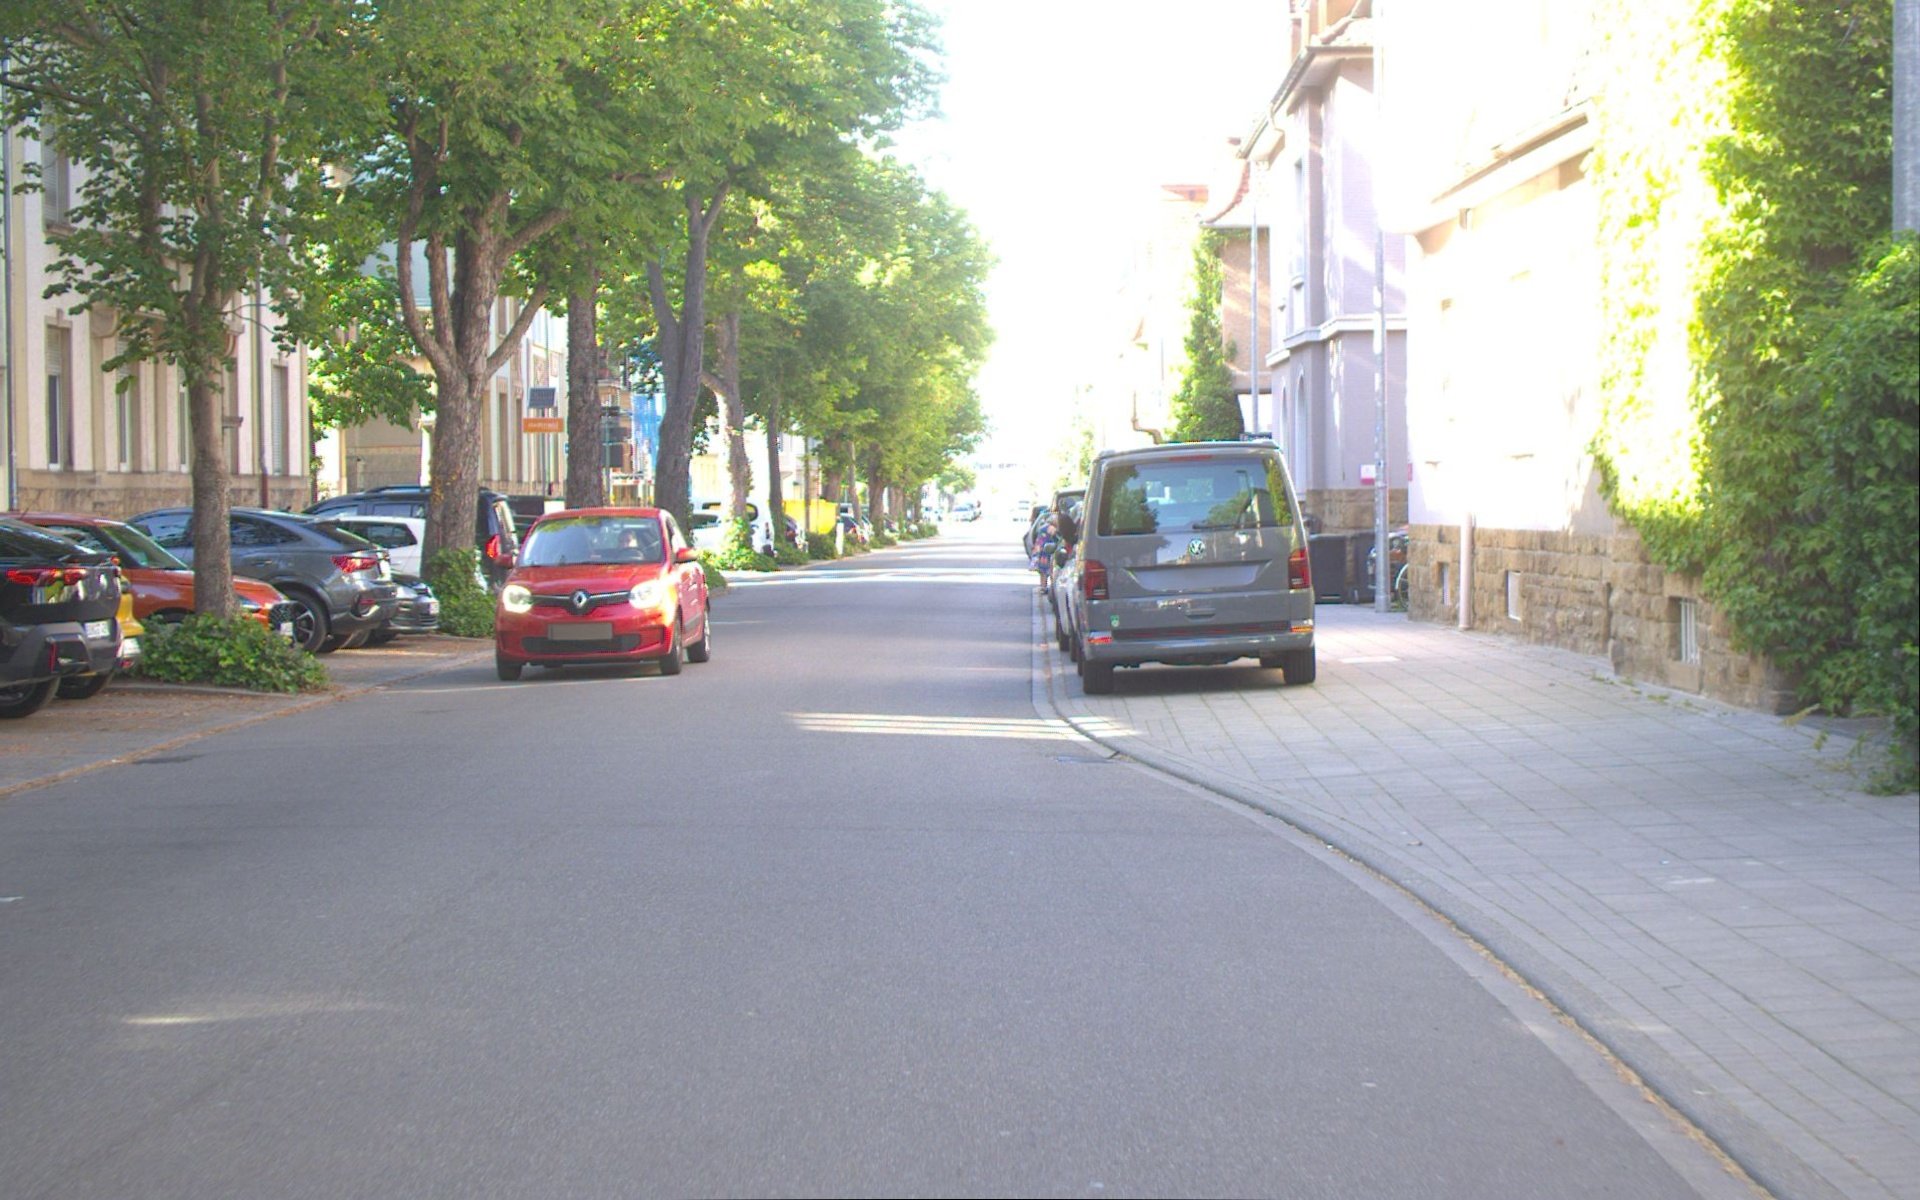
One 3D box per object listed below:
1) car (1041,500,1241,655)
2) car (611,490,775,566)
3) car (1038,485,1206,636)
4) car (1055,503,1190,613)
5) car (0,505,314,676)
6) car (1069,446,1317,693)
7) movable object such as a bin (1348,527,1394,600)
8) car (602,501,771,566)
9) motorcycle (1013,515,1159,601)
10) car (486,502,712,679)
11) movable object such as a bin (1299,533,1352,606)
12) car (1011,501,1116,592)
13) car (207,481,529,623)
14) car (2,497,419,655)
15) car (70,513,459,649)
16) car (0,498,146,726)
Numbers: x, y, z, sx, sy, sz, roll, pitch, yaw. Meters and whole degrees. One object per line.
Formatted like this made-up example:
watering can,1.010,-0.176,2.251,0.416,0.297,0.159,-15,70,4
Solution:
car,1.794,-0.278,35.279,1.678,1.452,4.439,-1,2,-2
car,-6.629,-1.785,85.618,3.986,1.754,1.798,2,1,-2
car,1.878,-0.481,40.431,1.789,1.595,4.000,-3,1,2
car,2.365,-0.658,50.906,1.854,1.488,4.608,-2,2,2
car,-8.041,-0.101,31.260,3.987,1.509,1.747,0,1,1
car,1.881,-0.309,29.084,1.865,1.909,4.782,0,2,1
movable object such as a bin,5.935,-0.529,49.666,0.568,1.036,0.618,-1,2,-1
car,-6.613,-1.611,83.308,3.986,1.459,1.798,2,1,-2
motorcycle,2.046,-0.676,55.660,2.193,1.334,0.921,0,3,-32
car,-3.300,-0.138,31.971,1.641,1.503,3.703,-2,2,0
movable object such as a bin,5.278,-0.445,49.662,0.647,1.036,0.828,-1,2,-1
car,1.875,-1.014,63.448,1.699,1.534,4.156,-3,2,-1
car,-7.863,-0.647,45.883,3.979,1.849,1.829,0,1,0
car,-7.868,-0.271,36.339,3.987,1.587,1.859,1,2,0
car,-7.774,-0.240,38.638,3.903,1.441,1.859,1,2,6
car,-8.067,0.042,24.647,3.987,1.561,1.863,1,1,2
